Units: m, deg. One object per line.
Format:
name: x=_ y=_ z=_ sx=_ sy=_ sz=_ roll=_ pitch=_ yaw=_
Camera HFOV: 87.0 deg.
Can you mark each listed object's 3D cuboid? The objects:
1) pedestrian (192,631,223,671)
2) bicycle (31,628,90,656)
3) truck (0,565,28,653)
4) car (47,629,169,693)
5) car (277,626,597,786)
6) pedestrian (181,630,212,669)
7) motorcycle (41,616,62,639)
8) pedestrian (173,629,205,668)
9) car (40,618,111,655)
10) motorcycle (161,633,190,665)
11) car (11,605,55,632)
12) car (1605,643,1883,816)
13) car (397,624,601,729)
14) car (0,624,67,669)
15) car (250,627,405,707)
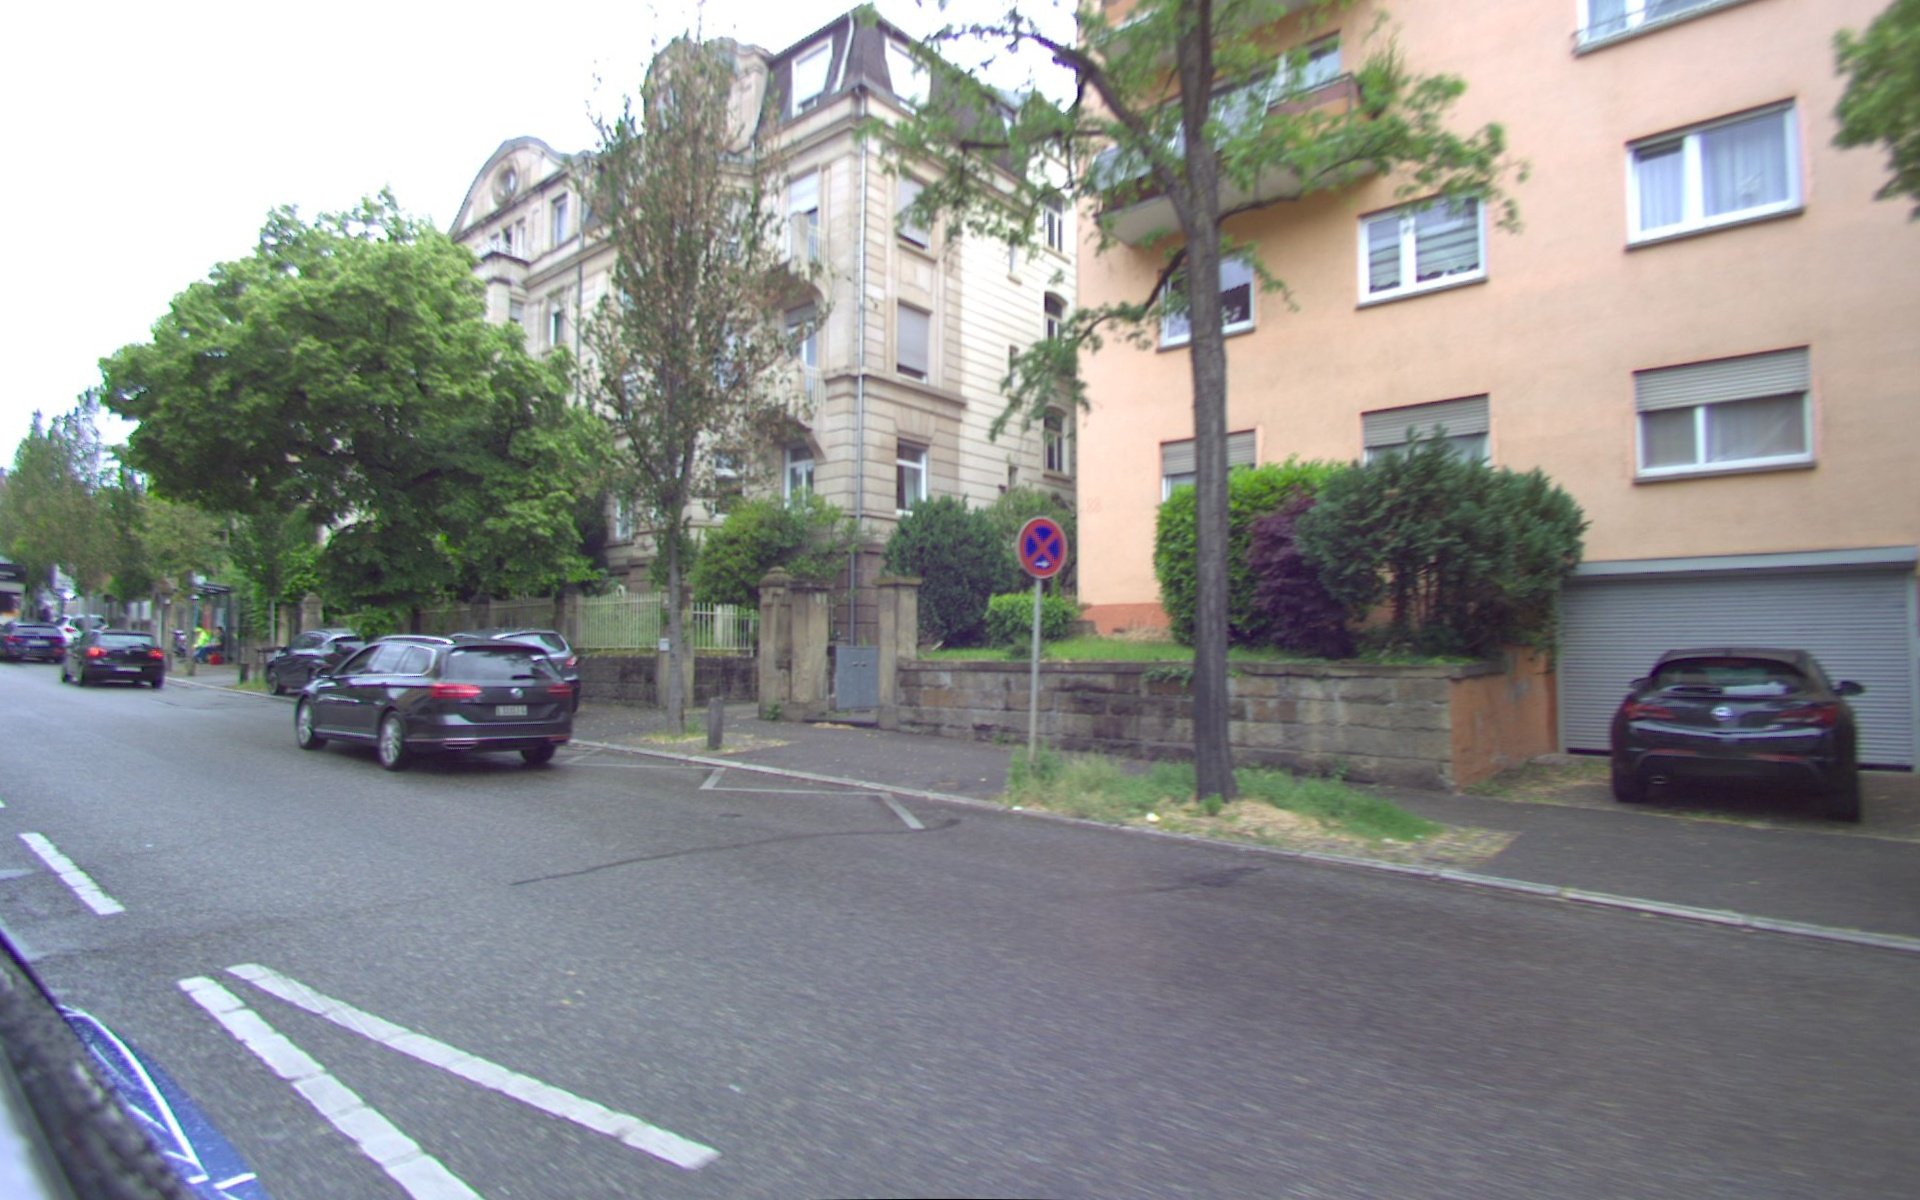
pedestrian: x=-27.827 y=1.872 z=37.413 sx=0.649 sy=1.443 sz=0.758 roll=0 pitch=-3 yaw=43
bicycle: x=-42.966 y=2.009 z=48.364 sx=0.657 sy=1.245 sz=1.955 roll=0 pitch=-3 yaw=40
truck: x=-46.434 y=0.395 z=47.906 sx=9.310 sy=3.884 sz=2.618 roll=-1 pitch=-5 yaw=44
car: x=-22.741 y=1.553 z=26.966 sx=4.587 sy=1.529 sz=1.754 roll=-1 pitch=-1 yaw=40
car: x=-6.394 y=1.118 z=12.141 sx=4.545 sy=1.529 sz=1.796 roll=-1 pitch=-3 yaw=41
pedestrian: x=-28.502 y=1.851 z=37.769 sx=0.649 sy=1.443 sz=0.758 roll=0 pitch=-3 yaw=43
motorcycle: x=-49.557 y=1.498 z=55.201 sx=1.982 sy=1.245 sz=0.648 roll=0 pitch=-3 yaw=44
pedestrian: x=-29.143 y=1.837 z=38.253 sx=0.760 sy=1.443 sz=0.757 roll=0 pitch=-3 yaw=44
car: x=-40.707 y=1.633 z=46.544 sx=4.297 sy=1.571 sz=1.724 roll=0 pitch=0 yaw=39
motorcycle: x=-32.027 y=2.008 z=41.314 sx=1.763 sy=1.246 sz=0.648 roll=0 pitch=-3 yaw=44
car: x=-58.940 y=1.145 z=64.332 sx=1.973 sy=1.607 sz=3.830 roll=-1 pitch=1 yaw=-44
car: x=7.784 y=1.134 z=10.100 sx=1.835 sy=1.337 sz=3.947 roll=-1 pitch=-4 yaw=39
car: x=-8.384 y=1.273 z=18.234 sx=4.300 sy=1.571 sz=1.723 roll=0 pitch=-1 yaw=41
car: x=-34.355 y=1.692 z=37.024 sx=4.744 sy=1.479 sz=1.754 roll=-2 pitch=-6 yaw=40
car: x=-14.890 y=1.498 z=23.750 sx=4.296 sy=1.571 sz=1.725 roll=0 pitch=1 yaw=38
